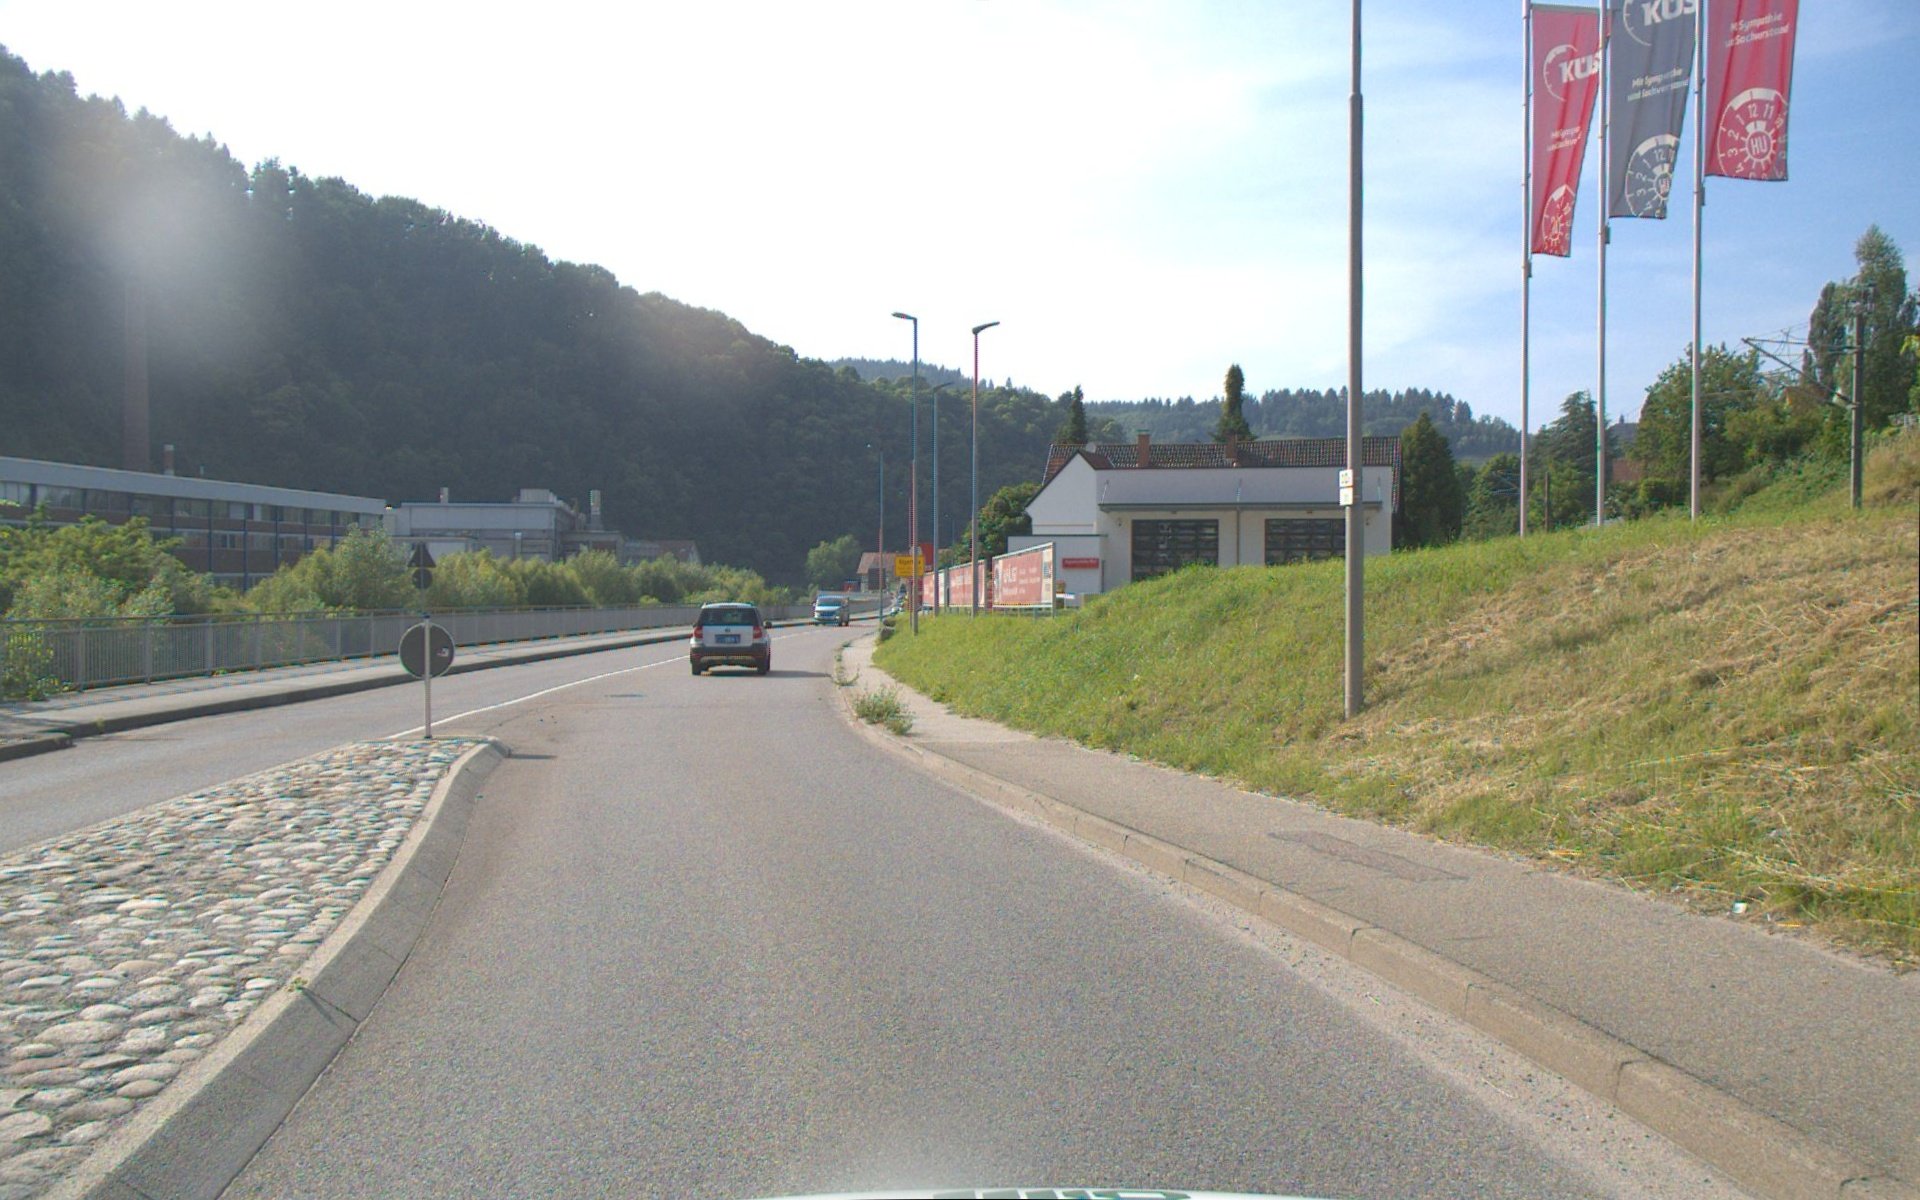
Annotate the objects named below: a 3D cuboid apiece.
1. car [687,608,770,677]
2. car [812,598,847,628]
[{"bbox_3d":[-5.485,0.986,39.623,1.825,1.571,4.367,0,-1,-6],"label":"car"},{"bbox_3d":[-8.877,0.914,112.884,1.880,2.002,5.146,-1,-1,1],"label":"car"}]
